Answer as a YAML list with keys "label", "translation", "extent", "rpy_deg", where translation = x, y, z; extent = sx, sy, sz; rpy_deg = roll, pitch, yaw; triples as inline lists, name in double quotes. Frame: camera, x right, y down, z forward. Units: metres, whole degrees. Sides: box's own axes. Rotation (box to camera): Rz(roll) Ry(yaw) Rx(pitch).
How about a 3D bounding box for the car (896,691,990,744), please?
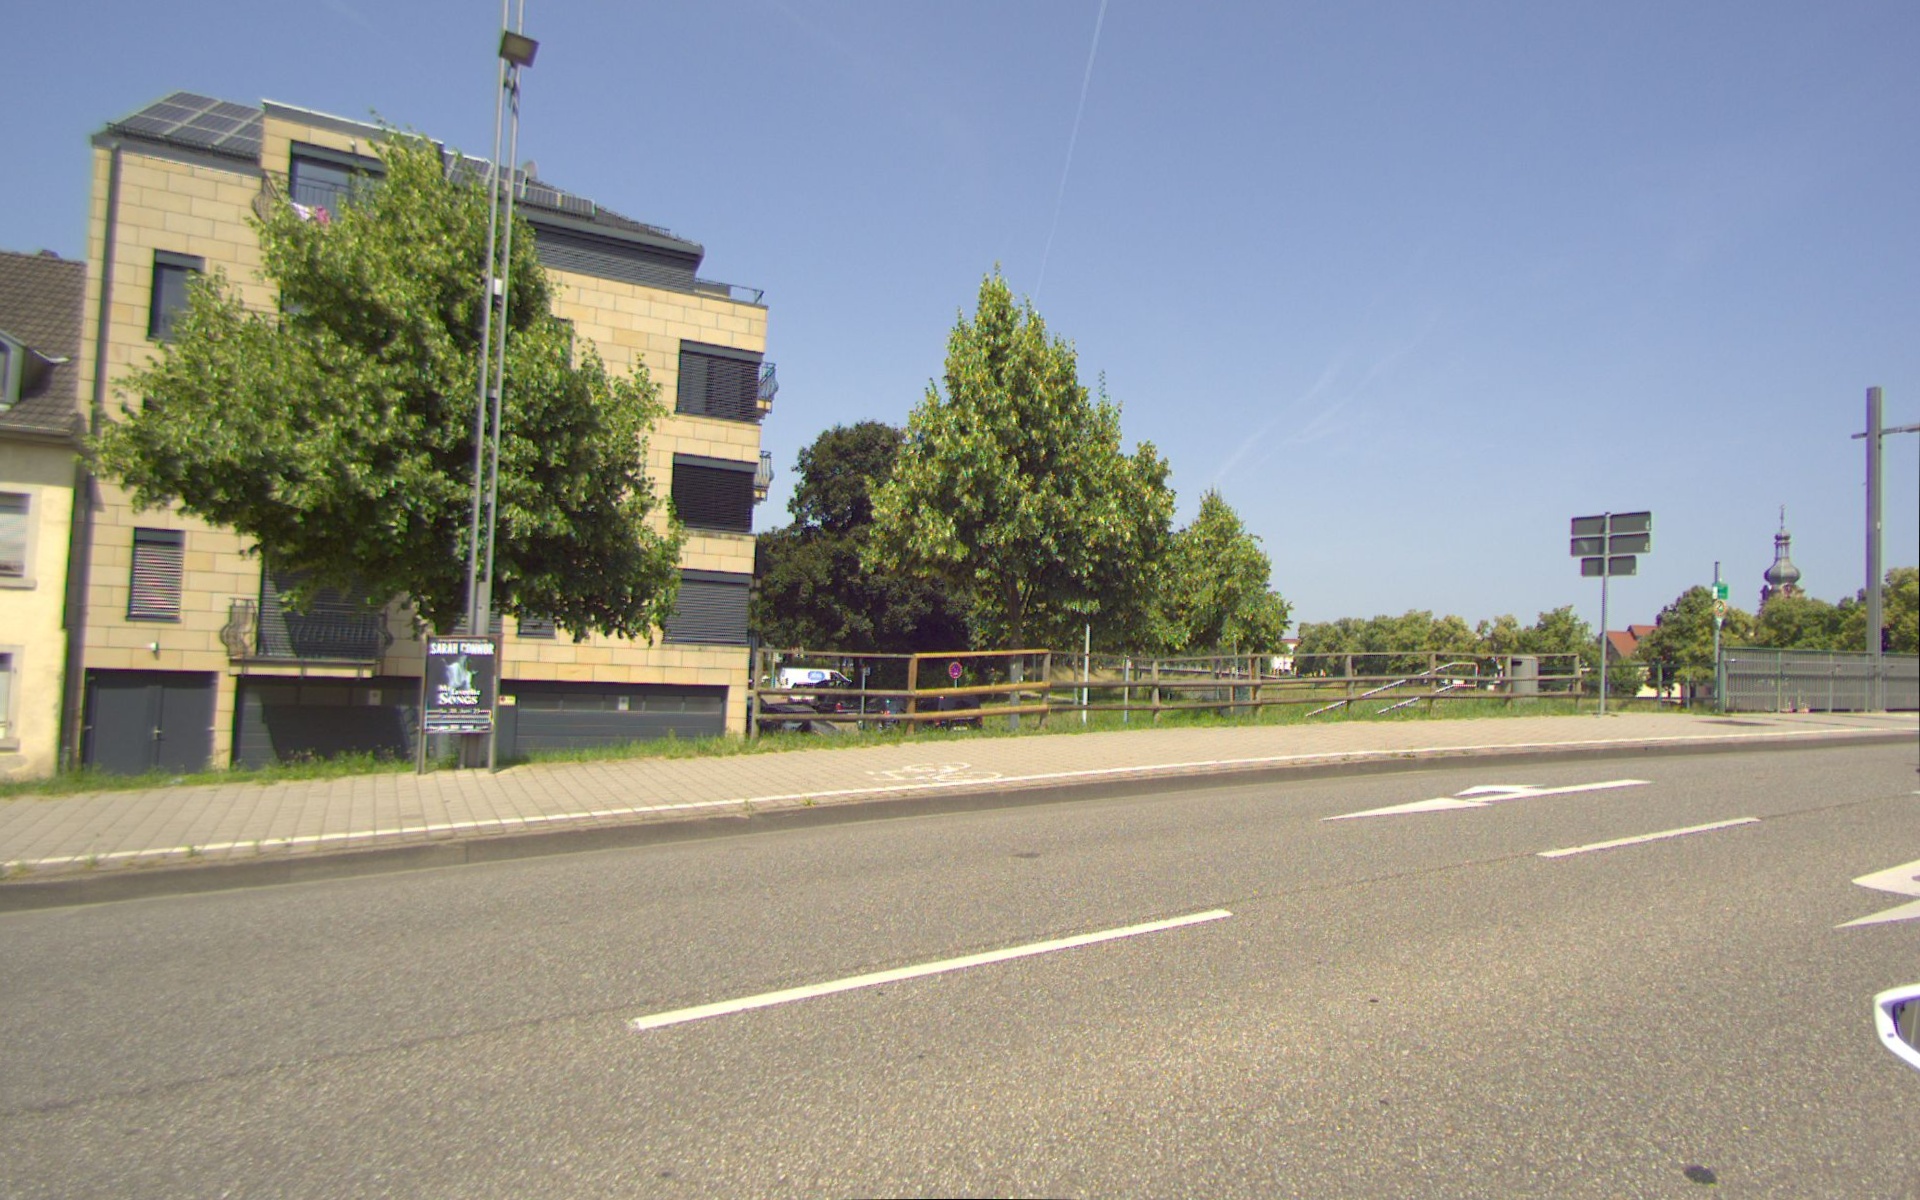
- label: "car"
  translation: [-0.672, 4.177, 36.183]
  extent: [1.973, 1.670, 3.978]
  rpy_deg: [3, -4, -24]

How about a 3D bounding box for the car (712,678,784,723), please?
- label: "car"
  translation: [-8.626, 4.031, 40.686]
  extent: [1.974, 1.670, 3.976]
  rpy_deg: [3, -4, -25]

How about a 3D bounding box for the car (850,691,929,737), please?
- label: "car"
  translation: [-2.968, 4.654, 41.495]
  extent: [1.973, 1.670, 3.978]
  rpy_deg: [3, -4, -24]

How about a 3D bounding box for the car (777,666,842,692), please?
- label: "car"
  translation: [-10.333, 5.432, 68.893]
  extent: [3.950, 1.670, 1.986]
  rpy_deg: [3, -4, -28]

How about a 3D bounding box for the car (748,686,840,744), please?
- label: "car"
  translation: [-5.568, 3.773, 33.412]
  extent: [1.974, 1.670, 3.976]
  rpy_deg: [3, -4, -25]

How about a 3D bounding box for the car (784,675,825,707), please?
- label: "car"
  translation: [-8.860, 5.190, 57.586]
  extent: [1.962, 1.670, 4.000]
  rpy_deg: [1, -4, -4]
